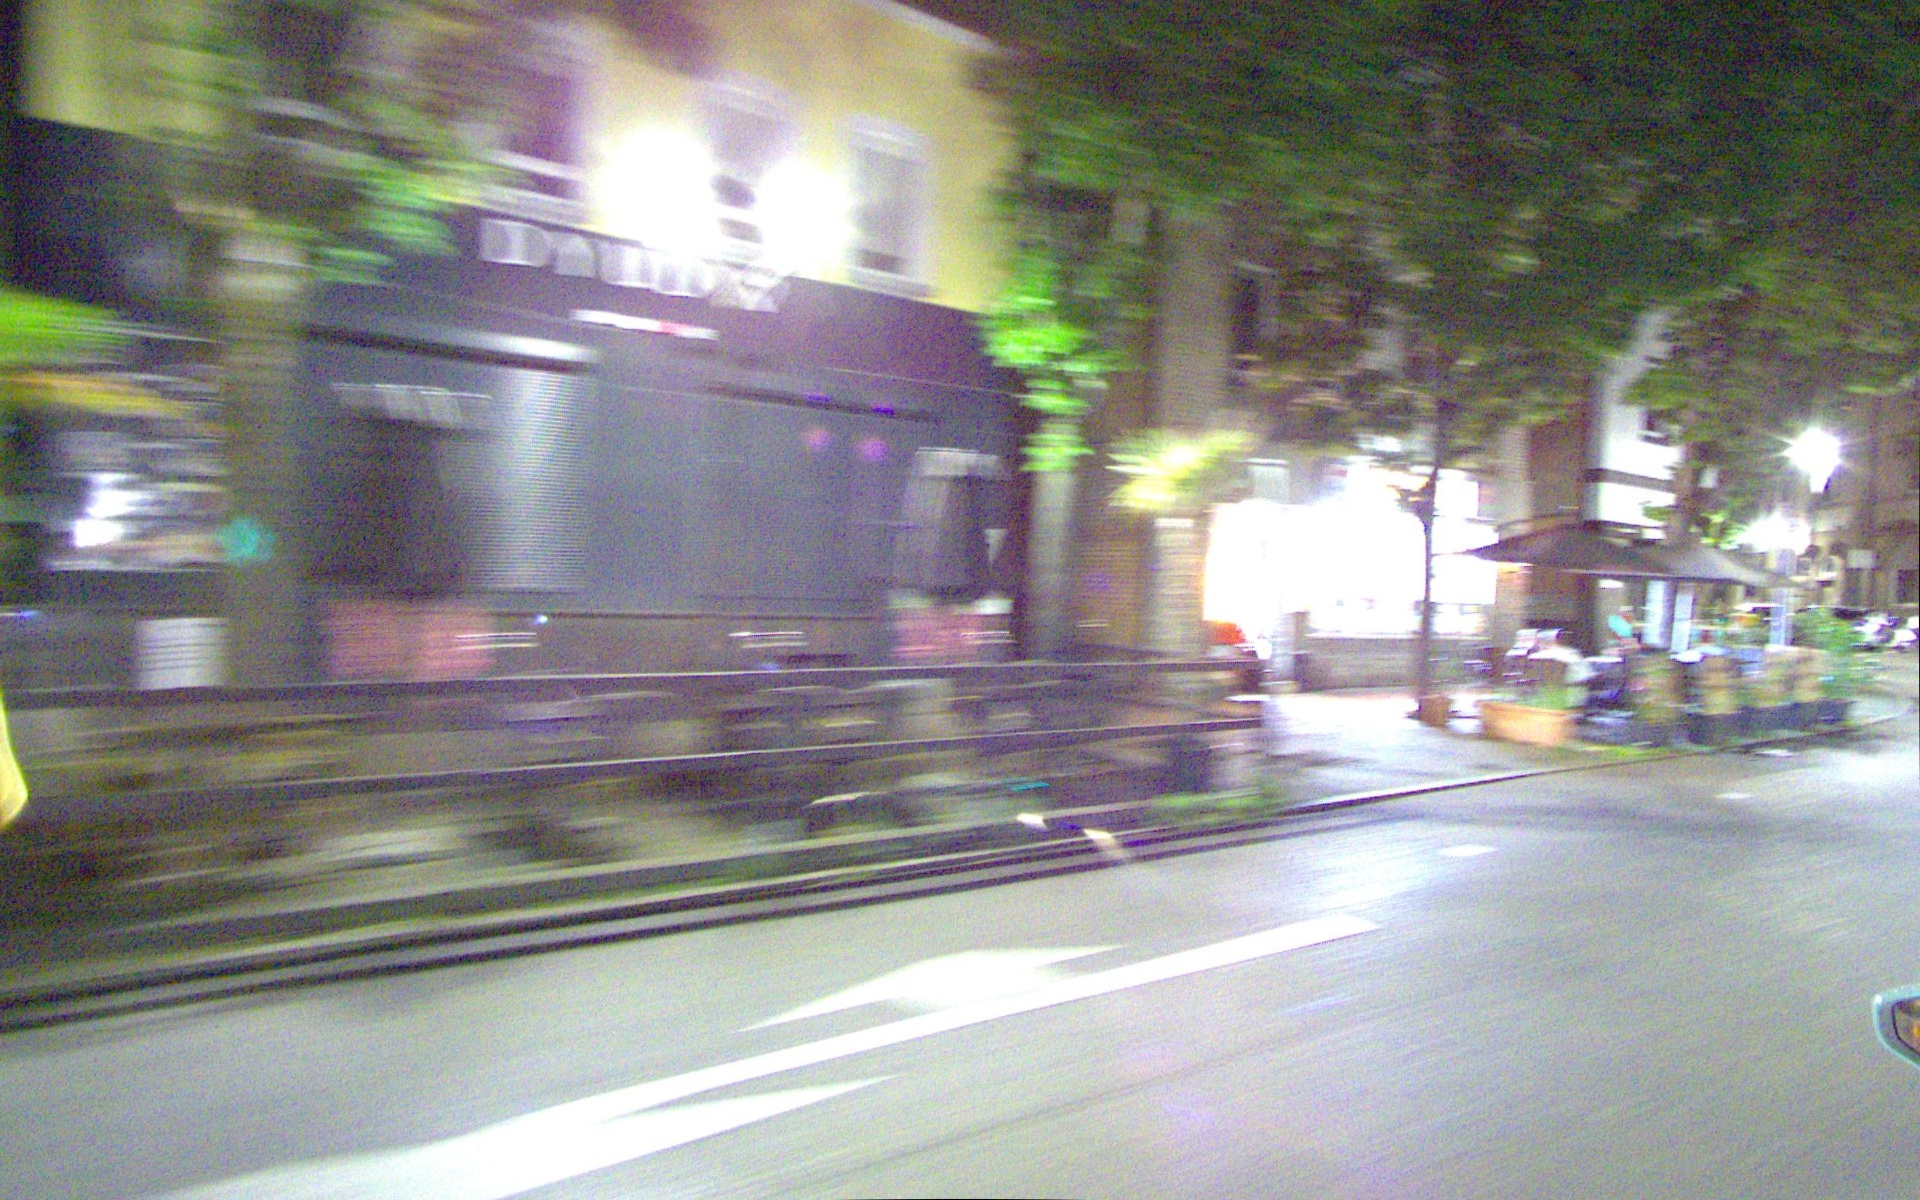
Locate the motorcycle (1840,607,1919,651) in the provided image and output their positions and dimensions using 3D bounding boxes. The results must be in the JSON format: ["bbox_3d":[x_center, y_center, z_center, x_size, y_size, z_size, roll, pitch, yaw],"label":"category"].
[{"bbox_3d":[30.968,0.963,33.686,2.018,1.425,0.925,0,1,4],"label":"motorcycle"}]

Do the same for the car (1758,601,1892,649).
[{"bbox_3d":[31.308,0.864,36.547,1.702,1.521,4.469,2,1,12],"label":"car"}]

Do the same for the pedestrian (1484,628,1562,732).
[{"bbox_3d":[6.840,0.949,12.199,0.672,1.179,0.570,1,1,-37],"label":"pedestrian"}]

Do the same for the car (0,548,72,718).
[{"bbox_3d":[-9.854,0.267,9.272,1.799,1.547,3.965,1,1,-32],"label":"car"}]

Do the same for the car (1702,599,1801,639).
[{"bbox_3d":[32.569,0.754,41.463,1.707,1.474,4.001,2,1,15],"label":"car"}]

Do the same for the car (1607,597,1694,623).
[{"bbox_3d":[42.151,0.583,61.436,3.945,1.441,1.853,2,0,12],"label":"car"}]

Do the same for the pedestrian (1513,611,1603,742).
[{"bbox_3d":[6.757,0.836,11.357,0.571,1.397,0.671,1,1,-37],"label":"pedestrian"}]
